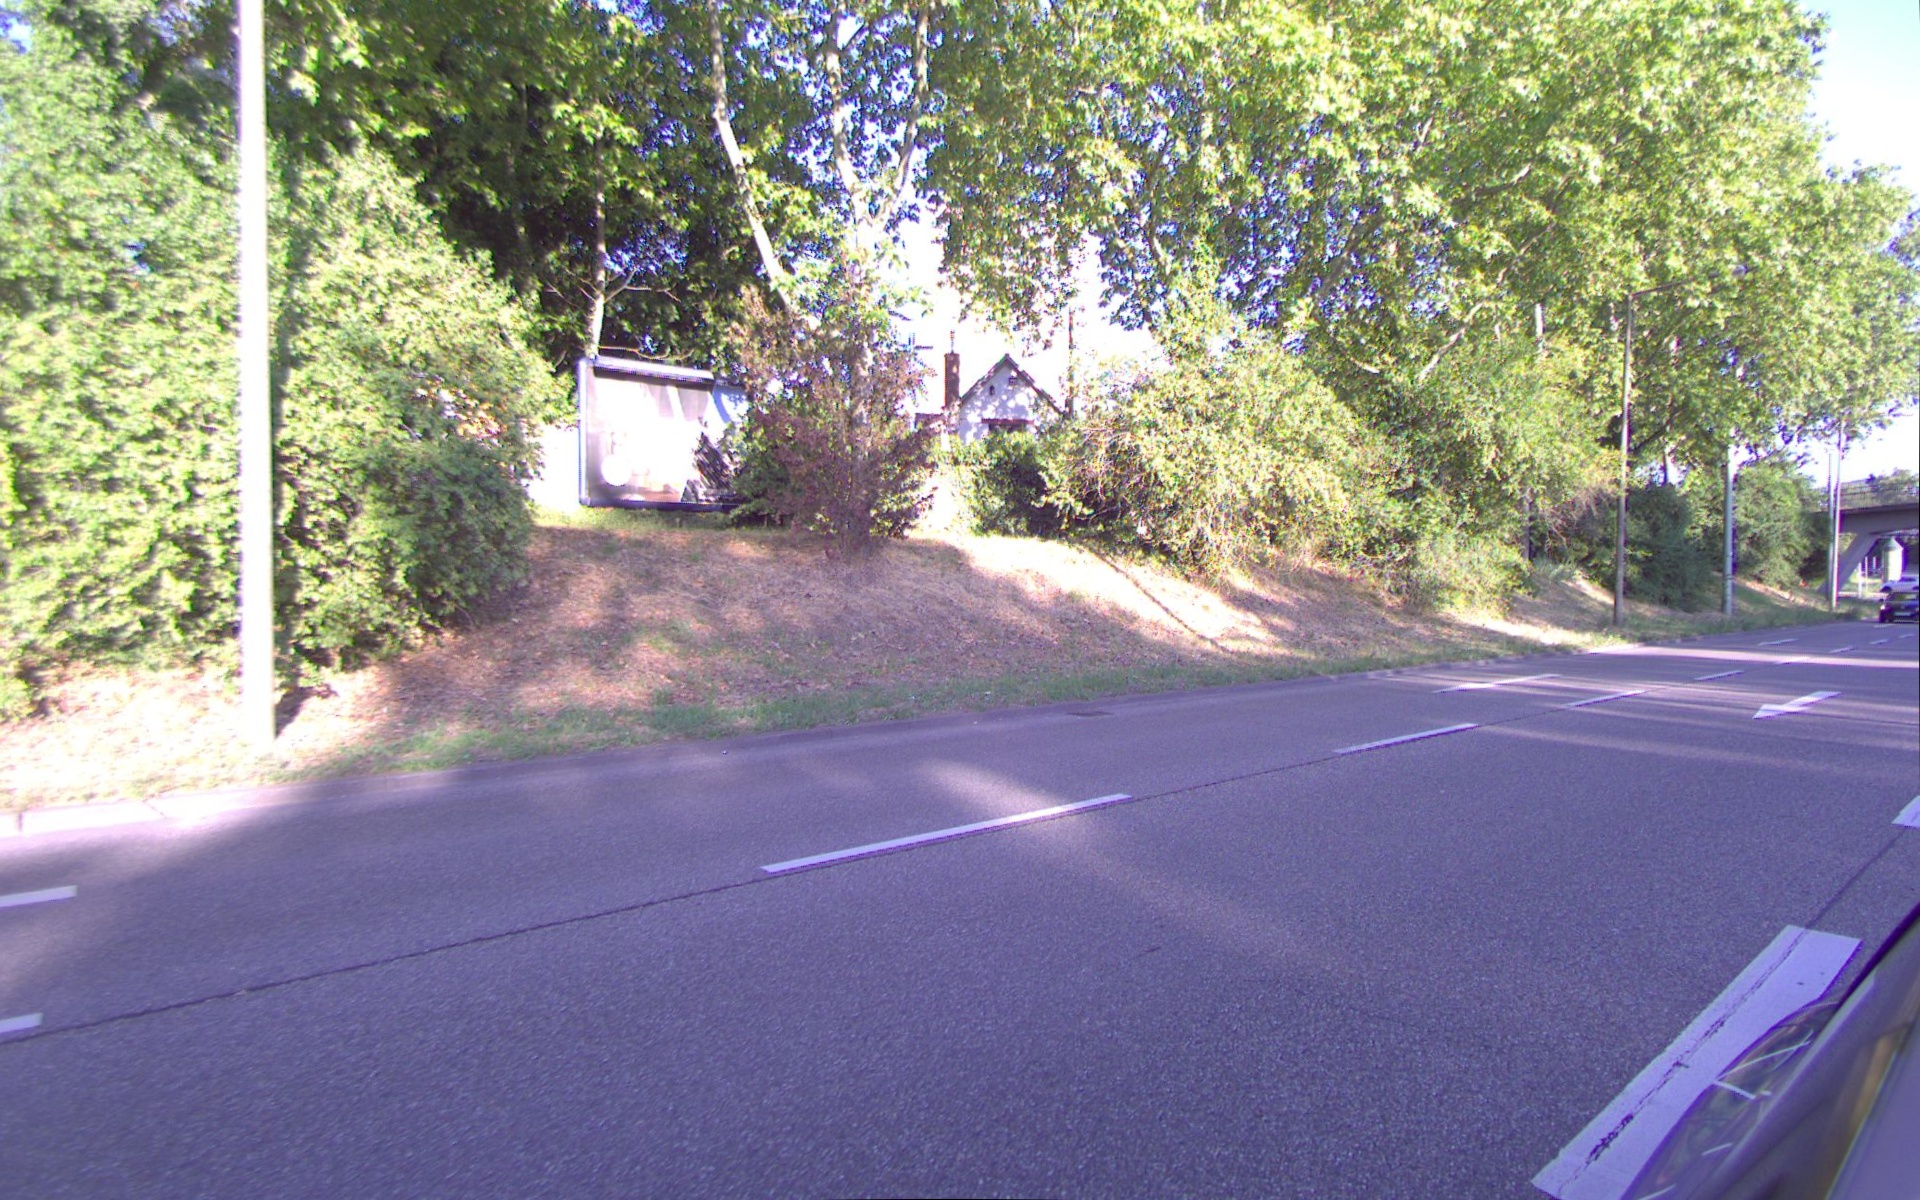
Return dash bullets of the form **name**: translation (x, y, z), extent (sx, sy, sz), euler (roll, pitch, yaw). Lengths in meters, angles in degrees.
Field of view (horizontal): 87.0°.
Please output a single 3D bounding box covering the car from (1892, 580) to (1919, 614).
- **car**: translation (42.587, -0.165, 44.681), extent (3.915, 1.460, 1.628), euler (-1, 1, -40)
